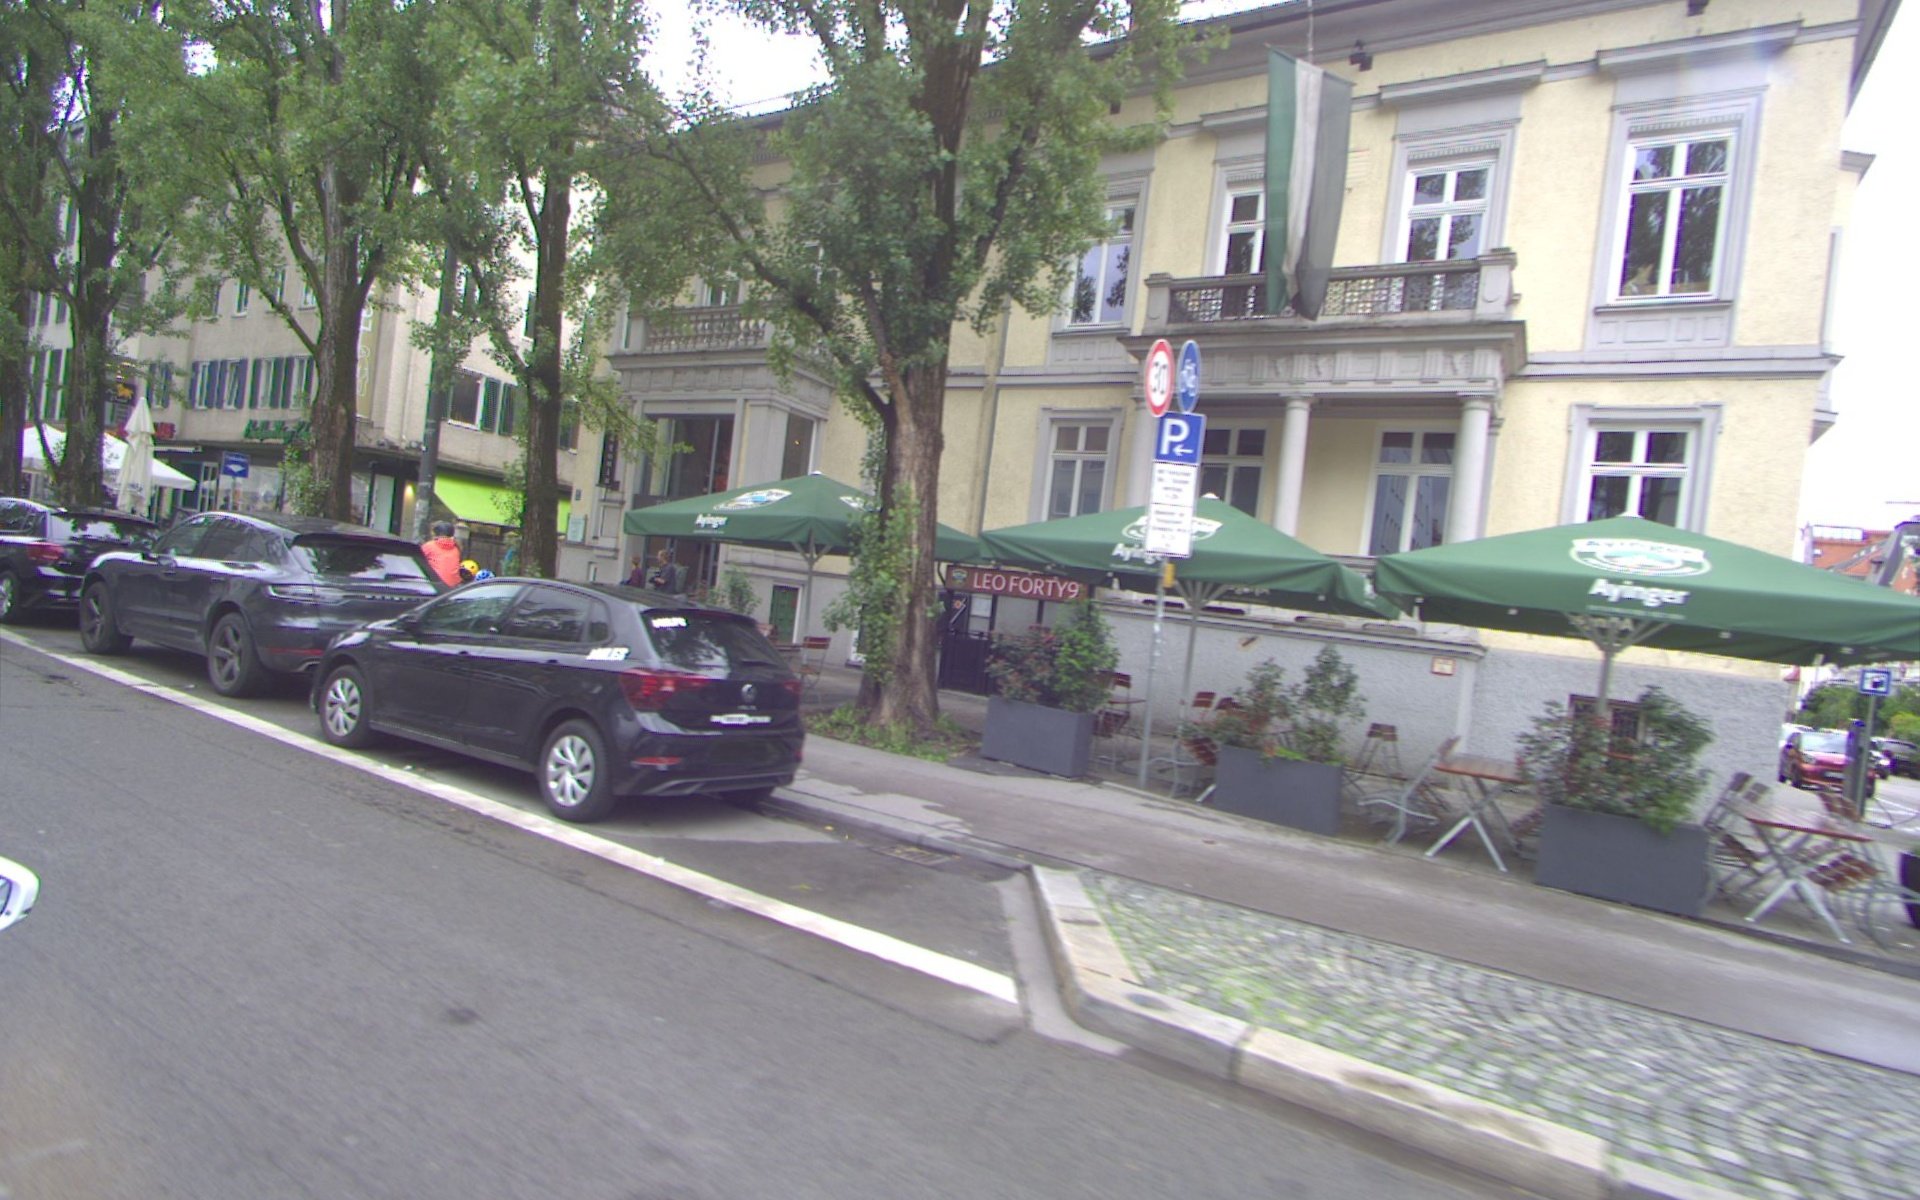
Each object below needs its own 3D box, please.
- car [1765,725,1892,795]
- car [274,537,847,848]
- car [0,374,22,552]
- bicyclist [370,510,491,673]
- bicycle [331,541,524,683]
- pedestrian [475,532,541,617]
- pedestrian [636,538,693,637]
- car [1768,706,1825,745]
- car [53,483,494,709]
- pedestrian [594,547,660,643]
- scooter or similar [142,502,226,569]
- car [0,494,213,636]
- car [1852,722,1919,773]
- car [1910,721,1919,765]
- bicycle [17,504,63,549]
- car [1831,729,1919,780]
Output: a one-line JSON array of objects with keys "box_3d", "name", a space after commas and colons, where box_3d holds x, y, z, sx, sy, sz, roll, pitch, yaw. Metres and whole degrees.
[{"box_3d": [23.802, 4.346, 27.735, 1.672, 1.416, 3.997, 7, -2, 28], "name": "car"}, {"box_3d": [-2.962, 0.520, 7.292, 3.884, 1.434, 1.697, 7, 0, 30], "name": "car"}, {"box_3d": [-12.217, -1.258, 10.247, 6.618, 2.522, 2.066, 7, -1, 32], "name": "car"}, {"box_3d": [-6.233, -0.088, 11.852, 0.870, 1.788, 0.768, 7, 1, 31], "name": "bicyclist"}, {"box_3d": [-6.326, 0.125, 11.890, 2.408, 1.366, 0.773, 7, 1, 31], "name": "bicycle"}, {"box_3d": [-9.772, -0.544, 21.764, 0.862, 1.698, 0.798, 7, 1, 32], "name": "pedestrian"}, {"box_3d": [-5.864, -0.246, 19.953, 0.864, 1.818, 0.770, 7, 1, -19], "name": "pedestrian"}, {"box_3d": [52.774, 7.910, 63.561, 1.967, 2.036, 3.996, 7, -2, 31], "name": "car"}, {"box_3d": [-6.950, -0.078, 10.084, 4.372, 1.657, 1.807, 7, -1, 30], "name": "car"}, {"box_3d": [-6.331, -0.090, 19.167, 0.862, 1.698, 0.799, 7, 1, -7], "name": "pedestrian"}, {"box_3d": [-19.396, -1.616, 25.116, 2.451, 1.394, 0.637, 8, 3, 28], "name": "scooter or similar"}, {"box_3d": [-11.693, -0.555, 12.821, 4.268, 1.410, 1.714, 7, -1, 28], "name": "car"}, {"box_3d": [43.307, 6.809, 46.663, 1.967, 2.036, 3.996, 7, -2, 31], "name": "car"}, {"box_3d": [45.296, 6.676, 45.775, 1.967, 2.036, 3.996, 7, -2, 31], "name": "car"}, {"box_3d": [-22.965, -1.840, 25.111, 1.429, 1.009, 0.349, 7, 2, 28], "name": "bicycle"}, {"box_3d": [34.770, 5.809, 38.105, 1.672, 1.485, 3.997, 7, -2, 28], "name": "car"}]
